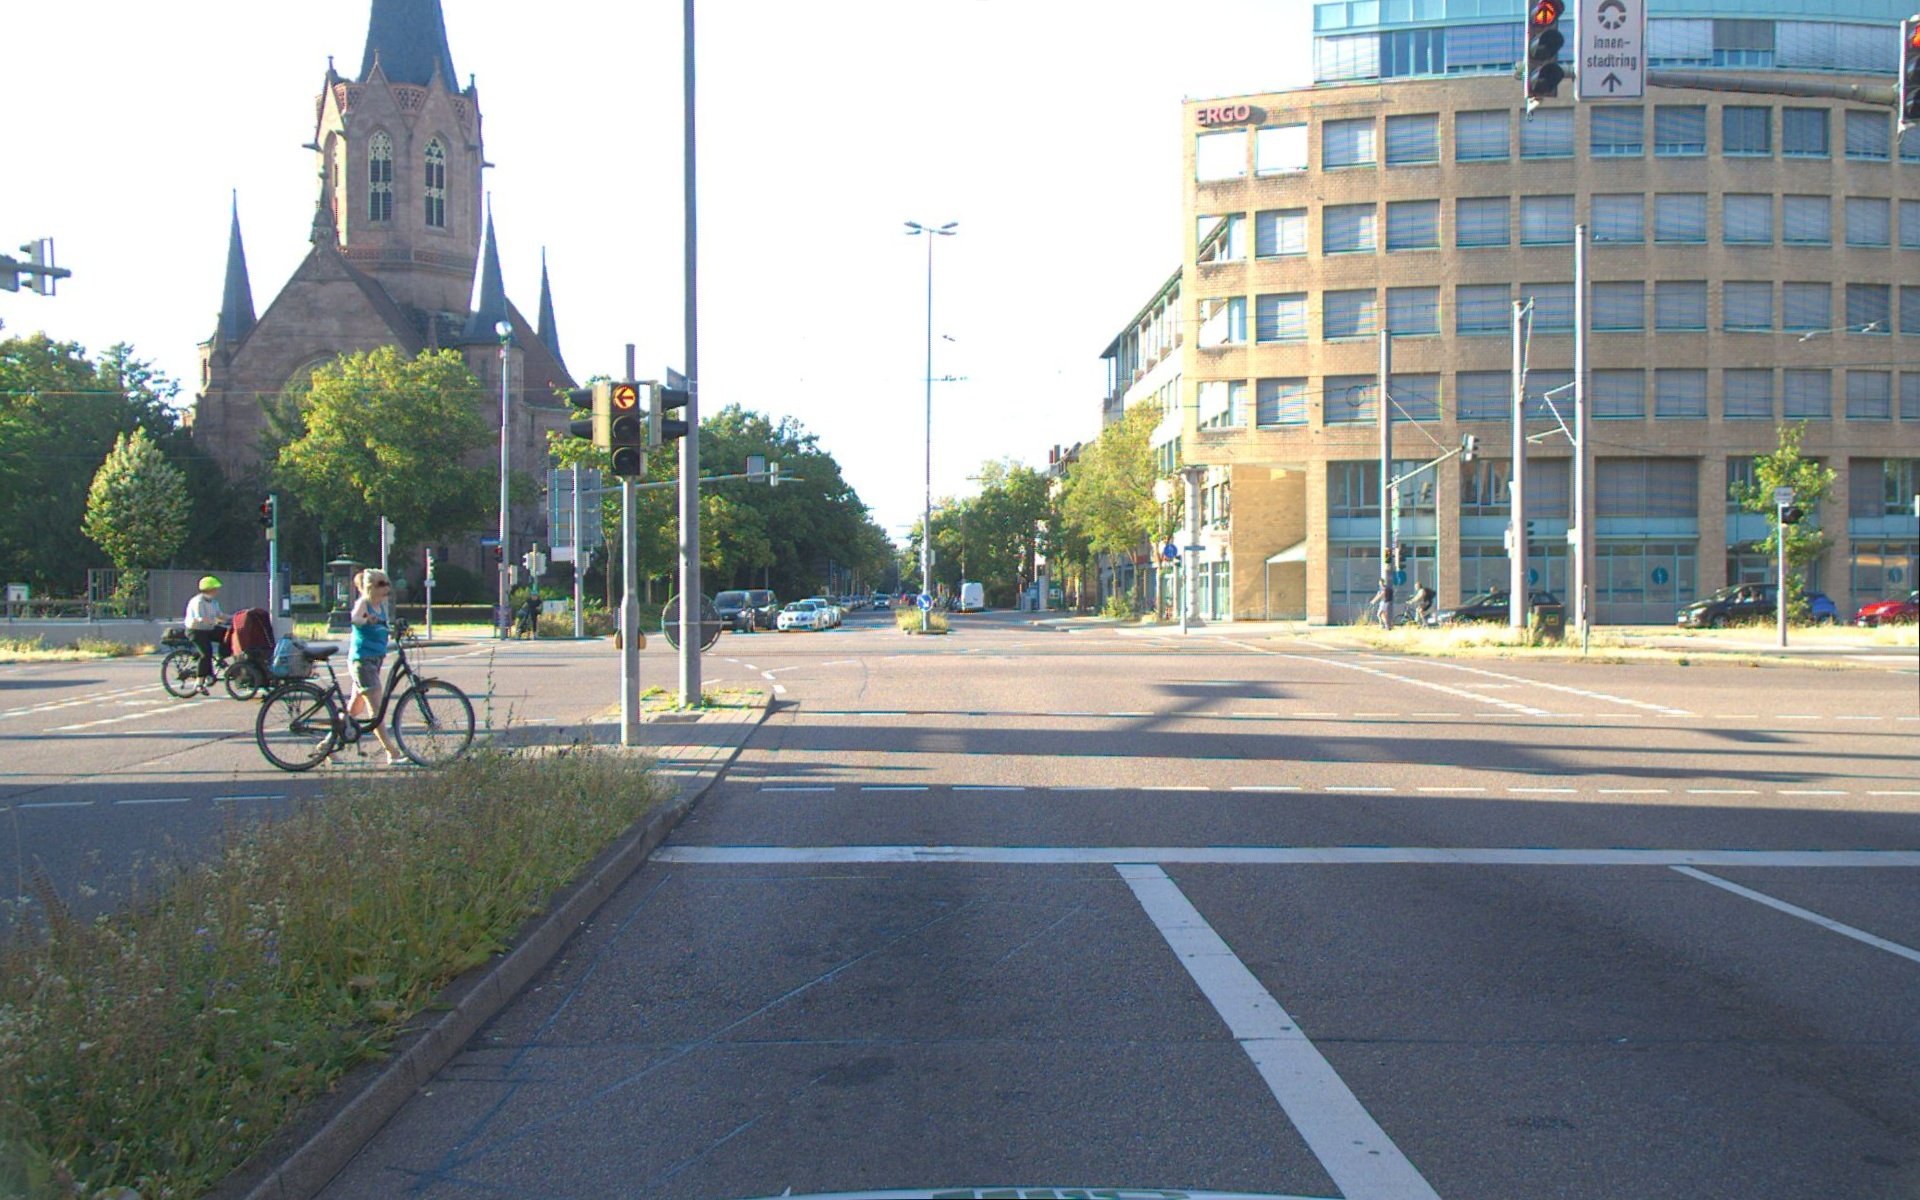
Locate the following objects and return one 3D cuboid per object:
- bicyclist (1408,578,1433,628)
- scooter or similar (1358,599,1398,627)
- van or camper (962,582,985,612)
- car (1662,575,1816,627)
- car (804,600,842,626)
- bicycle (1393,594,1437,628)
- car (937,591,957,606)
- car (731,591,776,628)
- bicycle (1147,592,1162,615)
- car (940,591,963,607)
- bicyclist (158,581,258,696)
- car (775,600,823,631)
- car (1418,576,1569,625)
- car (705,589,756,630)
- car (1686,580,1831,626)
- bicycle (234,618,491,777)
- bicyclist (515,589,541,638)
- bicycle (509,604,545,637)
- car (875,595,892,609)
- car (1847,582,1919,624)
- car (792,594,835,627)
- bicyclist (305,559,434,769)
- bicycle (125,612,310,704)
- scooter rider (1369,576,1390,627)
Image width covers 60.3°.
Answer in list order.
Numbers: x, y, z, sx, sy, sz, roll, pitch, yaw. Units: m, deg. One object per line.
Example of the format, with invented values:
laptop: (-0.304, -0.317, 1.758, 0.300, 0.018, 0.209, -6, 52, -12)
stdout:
bicyclist: (16.650, 0.102, 59.784, 0.774, 1.766, 0.475, 0, 0, 5)
scooter or similar: (15.332, 0.467, 60.670, 1.371, 1.019, 0.475, 0, 0, 5)
van or camper: (1.235, -0.288, 150.990, 1.953, 2.686, 5.350, 0, 0, -1)
car: (25.636, 0.011, 54.530, 4.142, 1.642, 2.000, 0, 0, -1)
car: (-7.017, 0.631, 85.015, 1.744, 1.257, 3.999, 0, 1, -2)
bicycle: (16.447, 0.394, 59.817, 1.487, 1.193, 0.475, 0, 0, 5)
car: (-1.427, -0.208, 181.768, 1.955, 1.620, 3.996, 0, 1, -5)
car: (-9.806, 0.429, 78.755, 1.744, 1.733, 3.999, 0, 1, -2)
bicycle: (10.503, 0.162, 89.244, 0.757, 1.216, 2.467, 0, 0, 6)
car: (-0.936, -0.120, 176.115, 1.956, 1.620, 3.994, 0, 1, -7)
bicyclist: (-10.232, 0.504, 22.548, 0.862, 1.513, 1.161, 0, 0, -4)
car: (-6.877, 0.633, 70.919, 1.744, 1.257, 3.999, 0, 1, -2)
car: (18.407, 0.006, 57.142, 4.556, 1.626, 1.998, 0, 0, -5)
car: (-9.865, 0.395, 71.351, 1.744, 1.676, 3.999, 0, 1, -2)
car: (27.995, 0.096, 58.059, 4.146, 1.528, 1.998, 0, 0, -5)
bicycle: (-4.770, 0.762, 13.301, 1.791, 1.209, 0.733, 0, 0, -3)
bicyclist: (-15.283, 0.463, 58.497, 0.635, 1.724, 0.771, -1, 0, -39)
bicycle: (-15.339, 0.715, 58.569, 0.641, 1.159, 1.657, -1, 0, -38)
car: (-8.180, 0.239, 176.944, 1.744, 1.474, 3.999, 0, 1, -2)
car: (31.726, 0.073, 55.034, 3.535, 1.366, 1.721, 0, 0, -2)
car: (-6.823, 0.459, 77.497, 1.744, 1.490, 3.999, 0, 1, -2)
bicyclist: (-4.922, 0.510, 13.837, 0.767, 1.689, 0.900, -1, 0, -3)
bicycle: (-10.102, 0.774, 22.572, 2.002, 1.188, 1.161, -1, 0, -4)
scooter rider: (15.371, 0.046, 60.670, 0.666, 1.846, 0.475, 0, 0, 5)
